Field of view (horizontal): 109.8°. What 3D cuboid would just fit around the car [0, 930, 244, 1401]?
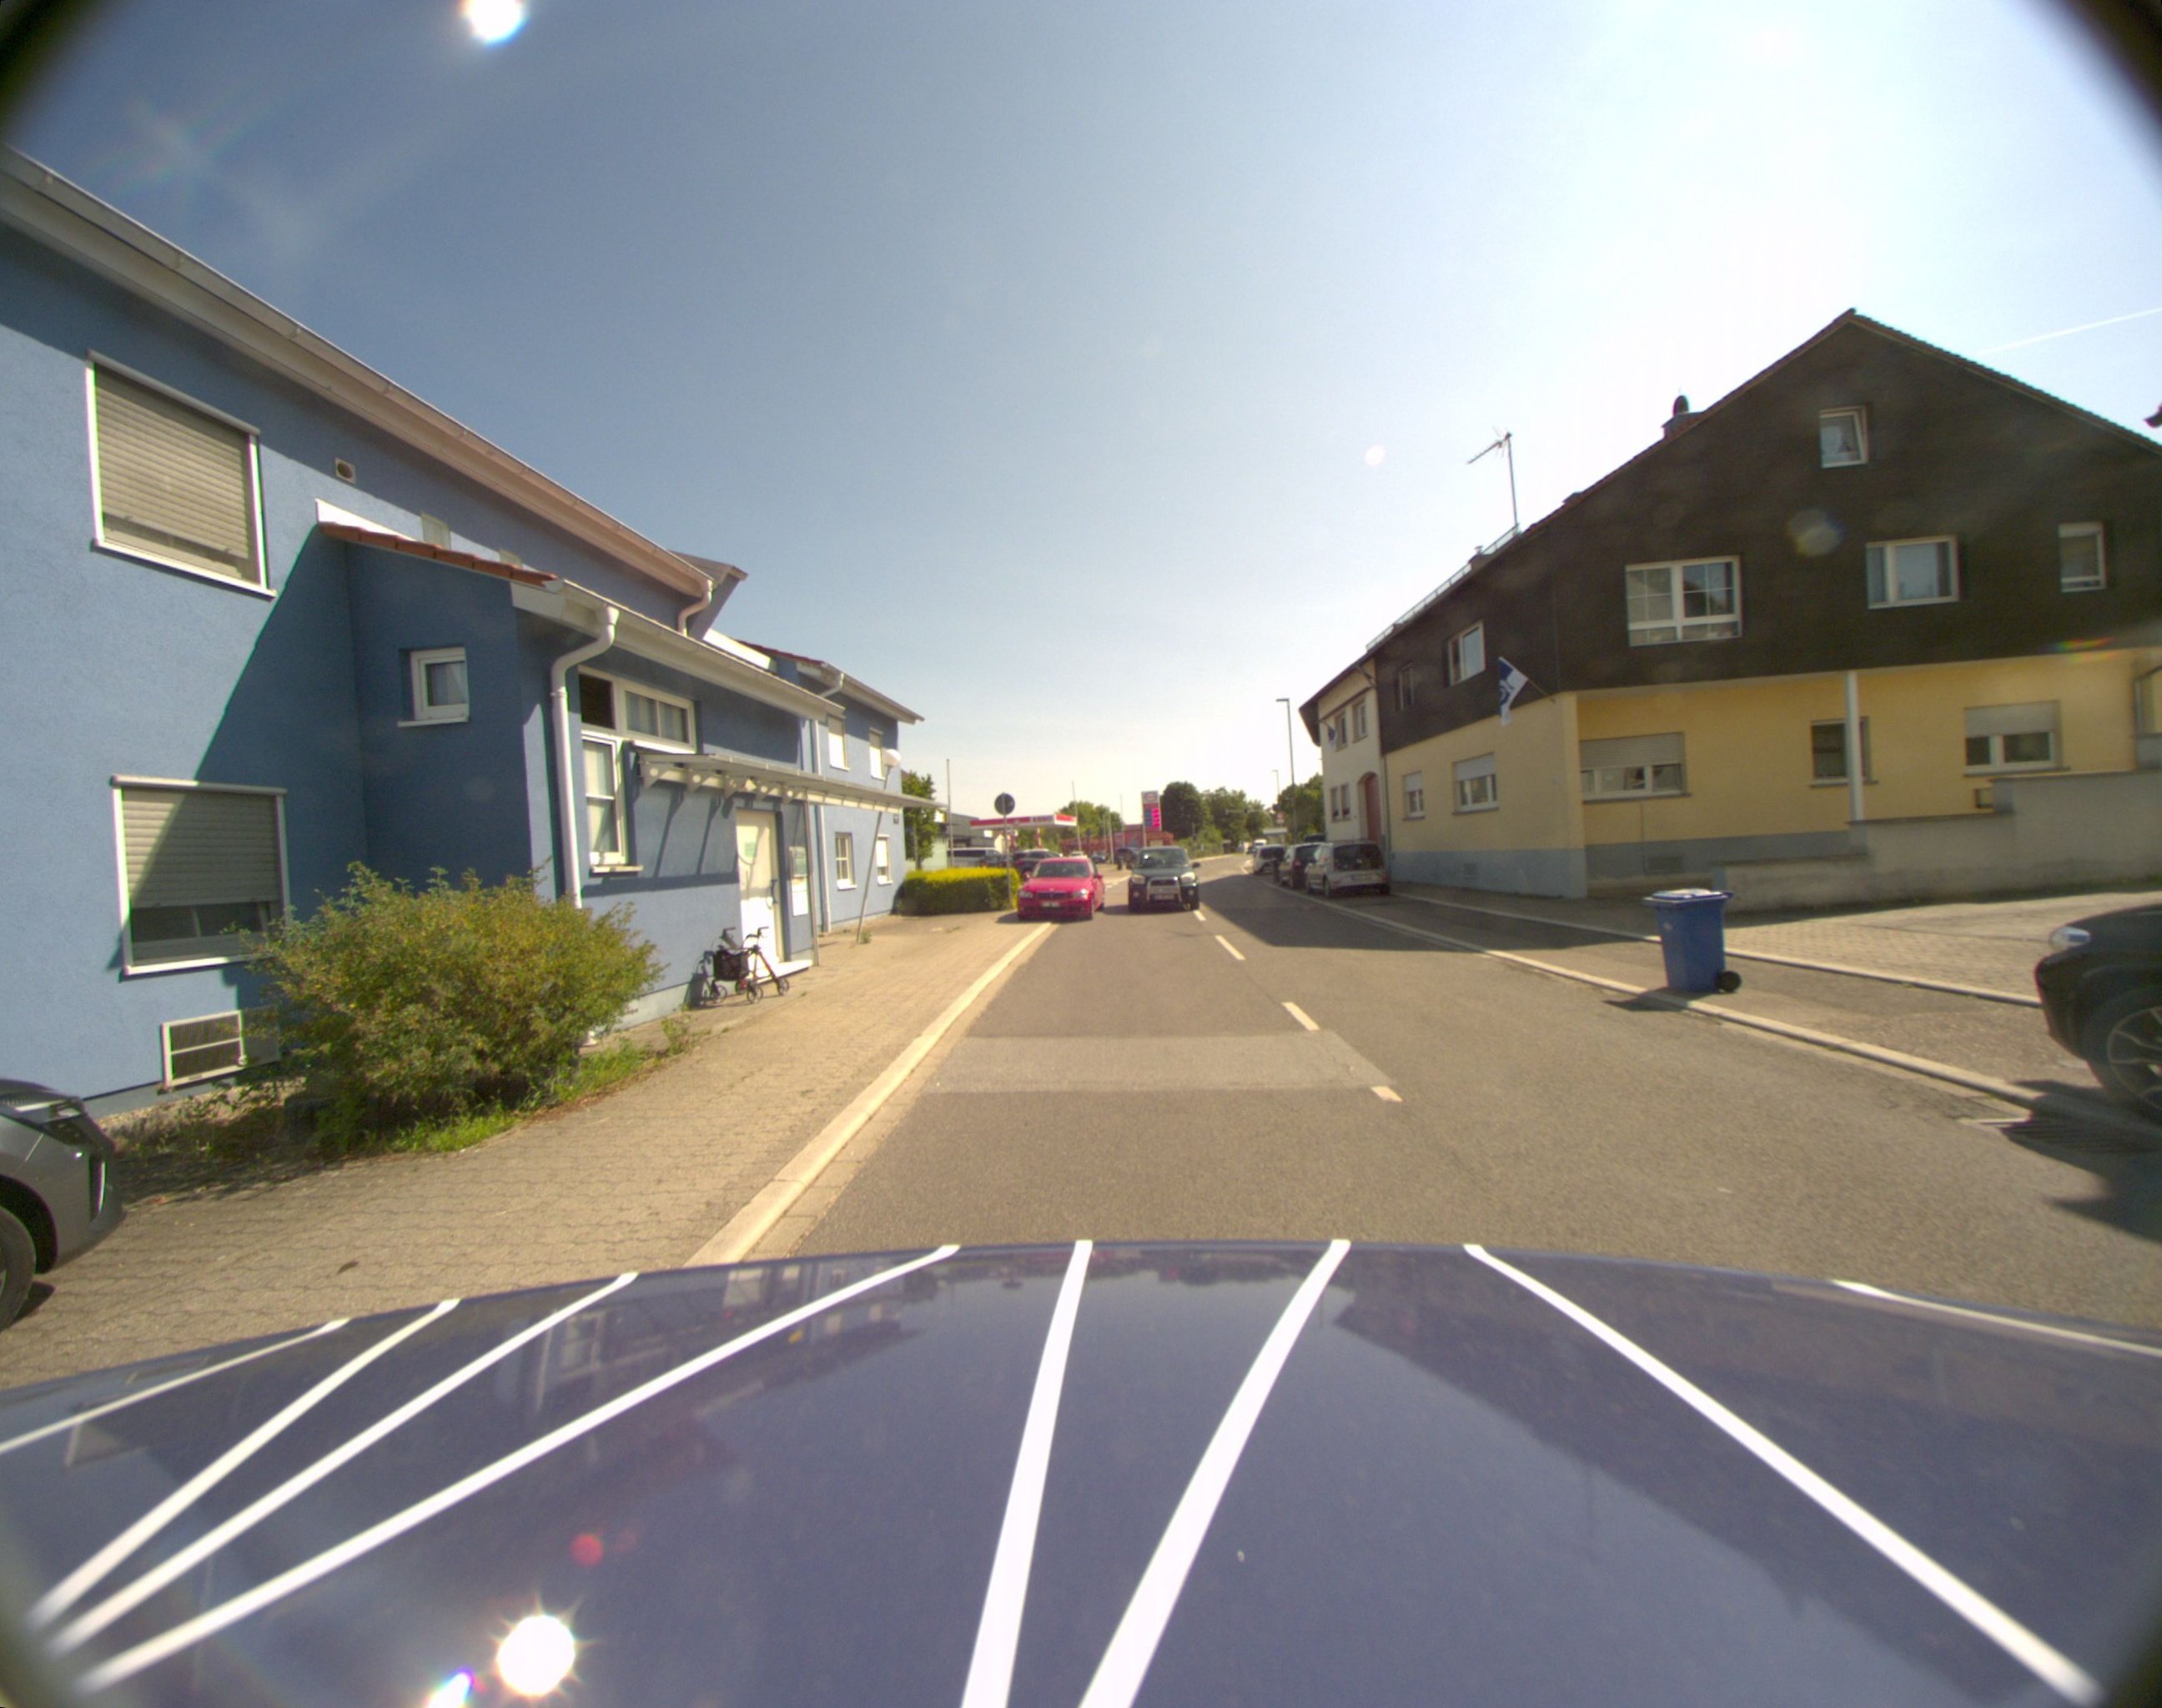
[{"bbox_3d":[-4.390,1.093,1.017,1.693,1.412,4.146,-4,1,4],"label":"car"}]

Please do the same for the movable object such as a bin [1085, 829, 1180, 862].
[{"bbox_3d":[7.430,-1.226,110.337,13.273,4.141,2.865,-3,1,14],"label":"movable object such as a bin"}]

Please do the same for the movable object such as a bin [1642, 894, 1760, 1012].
[{"bbox_3d":[5.724,0.900,7.039,0.598,0.976,0.531,-4,1,2],"label":"movable object such as a bin"}]

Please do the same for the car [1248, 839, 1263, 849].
[{"bbox_3d":[29.604,-1.731,129.172,1.843,1.583,4.111,-3,1,21],"label":"car"}]

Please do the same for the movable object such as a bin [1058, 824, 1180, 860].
[{"bbox_3d":[5.046,-1.583,102.510,16.076,3.995,2.776,-3,1,14],"label":"movable object such as a bin"}]

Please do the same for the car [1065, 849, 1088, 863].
[{"bbox_3d":[-0.524,0.224,93.229,2.002,1.583,4.340,-3,1,9],"label":"car"}]

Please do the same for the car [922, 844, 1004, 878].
[{"bbox_3d":[-8.014,0.439,51.316,5.287,2.002,2.229,-3,1,-12],"label":"car"}]

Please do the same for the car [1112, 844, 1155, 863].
[{"bbox_3d":[4.948,-0.028,71.971,1.777,1.546,4.171,-4,1,-37],"label":"car"}]

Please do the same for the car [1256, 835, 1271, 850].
[{"bbox_3d":[33.678,-2.138,140.208,1.936,2.488,5.845,-3,1,21],"label":"car"}]

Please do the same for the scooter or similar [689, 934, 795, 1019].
[{"bbox_3d":[-3.837,1.373,8.649,0.729,0.810,0.828,-3,1,8],"label":"scooter or similar"}]

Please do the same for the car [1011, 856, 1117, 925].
[{"bbox_3d":[-0.286,0.830,18.996,1.735,1.485,4.359,-1,0,11],"label":"car"}]

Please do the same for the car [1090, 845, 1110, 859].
[{"bbox_3d":[2.312,-0.258,92.809,1.844,1.583,4.108,-3,1,9],"label":"car"}]

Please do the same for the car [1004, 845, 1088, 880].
[{"bbox_3d":[-1.885,0.457,41.309,4.118,1.644,1.828,-3,1,-22],"label":"car"}]

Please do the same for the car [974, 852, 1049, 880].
[{"bbox_3d":[-4.431,0.756,48.647,4.321,1.541,1.981,-3,1,-22],"label":"car"}]

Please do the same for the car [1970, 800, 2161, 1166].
[{"bbox_3d":[5.769,0.572,1.843,1.924,1.658,4.666,-5,1,5],"label":"car"}]

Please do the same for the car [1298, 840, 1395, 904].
[{"bbox_3d":[7.319,0.441,21.325,1.644,1.492,3.782,-5,1,6],"label":"car"}]

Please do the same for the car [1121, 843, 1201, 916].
[{"bbox_3d":[2.217,0.632,20.584,1.848,1.686,4.401,-2,0,7],"label":"car"}]

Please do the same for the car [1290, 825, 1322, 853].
[{"bbox_3d":[19.247,-1.310,65.228,2.130,1.974,5.269,-8,0,14],"label":"car"}]

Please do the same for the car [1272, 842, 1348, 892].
[{"bbox_3d":[7.800,0.385,26.244,1.682,1.429,3.997,-6,0,6],"label":"car"}]

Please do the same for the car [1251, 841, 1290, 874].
[{"bbox_3d":[9.673,0.135,38.901,1.687,1.453,3.651,-4,1,12],"label":"car"}]

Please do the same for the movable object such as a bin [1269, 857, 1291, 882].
[{"bbox_3d":[7.842,0.596,30.002,0.552,0.923,0.825,-7,0,0],"label":"movable object such as a bin"}]

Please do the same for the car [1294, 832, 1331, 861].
[{"bbox_3d":[15.917,-0.546,52.179,1.839,1.782,4.348,-6,0,23],"label":"car"}]
